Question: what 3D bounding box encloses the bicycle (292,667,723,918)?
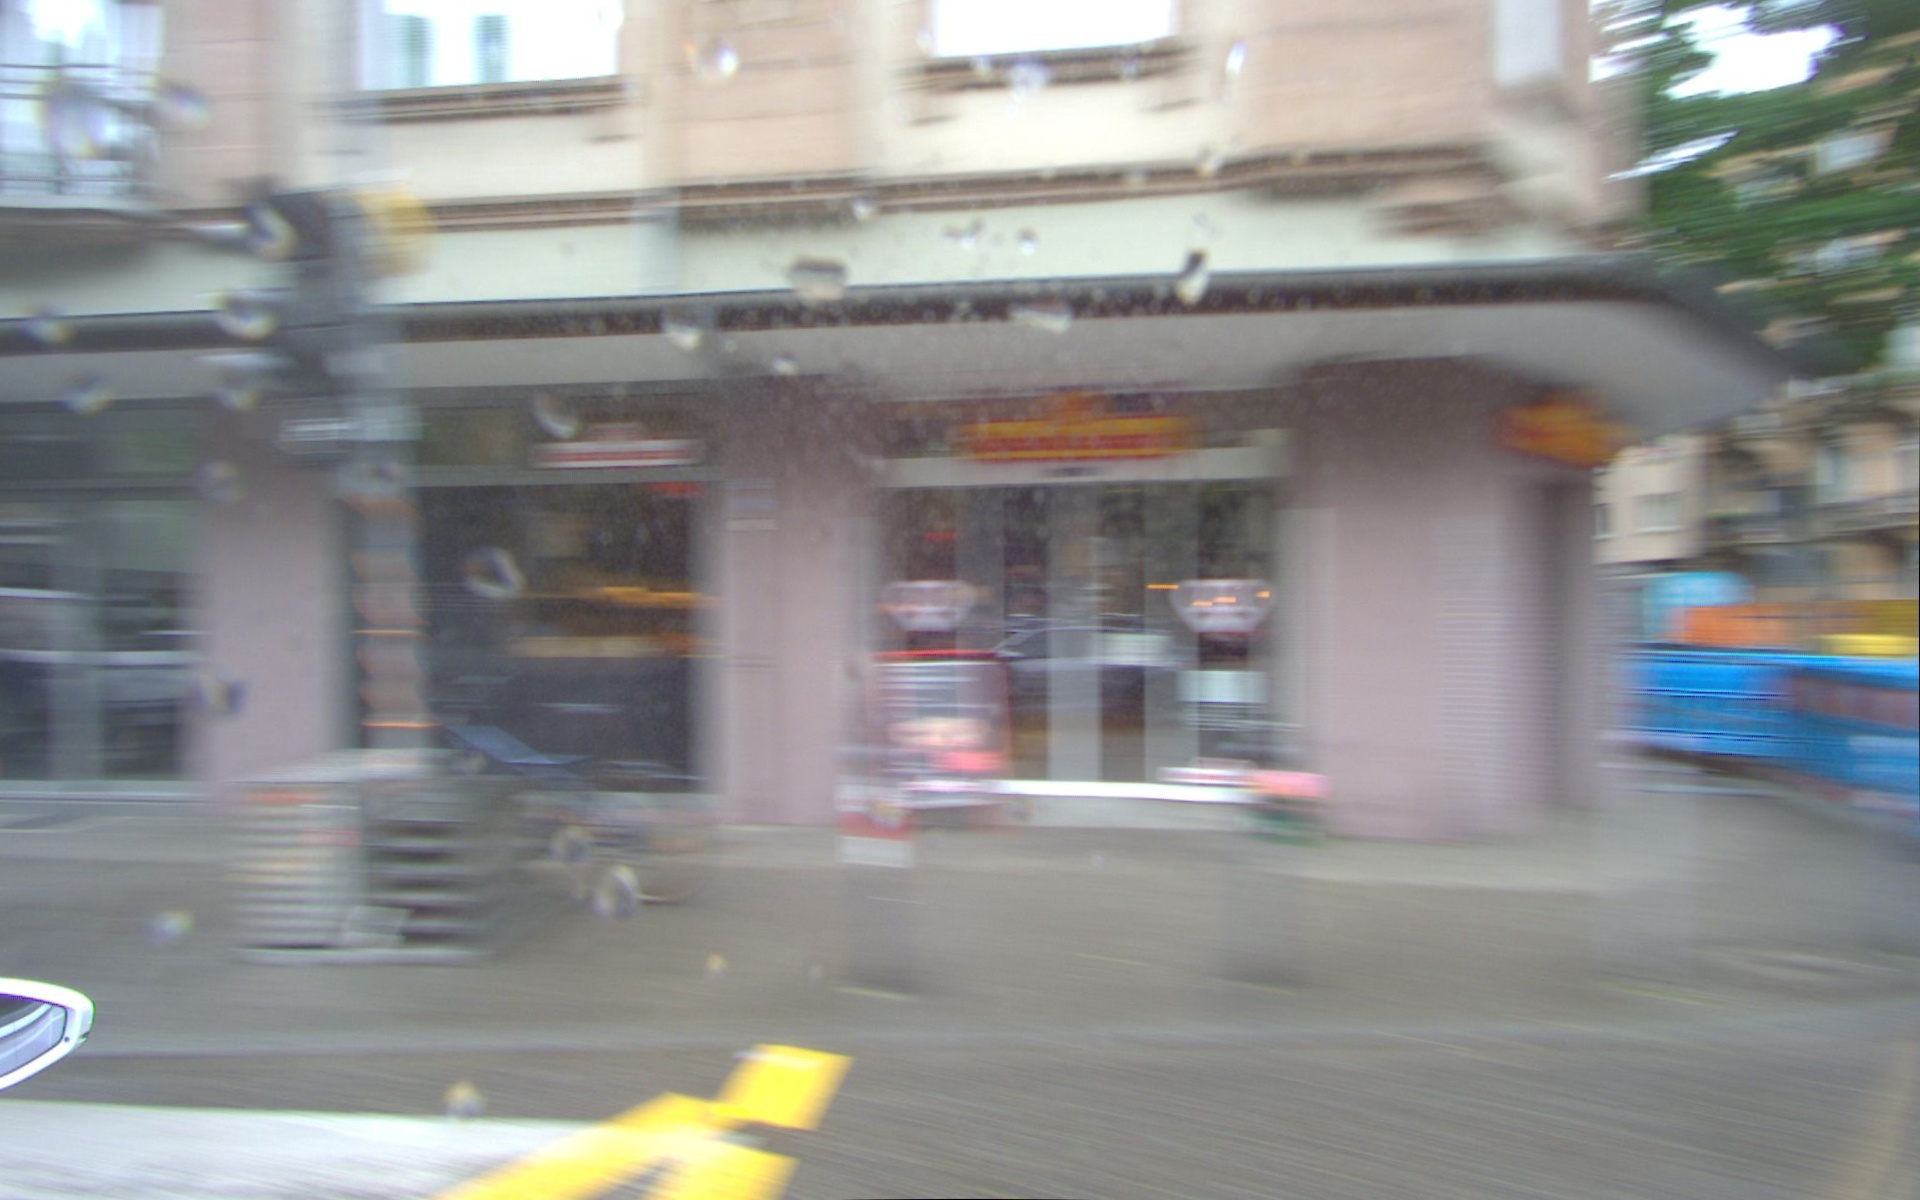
[{"bbox_3d":[-2.218,0.924,5.041,1.900,1.142,0.626,0,0,3],"label":"bicycle"}]
